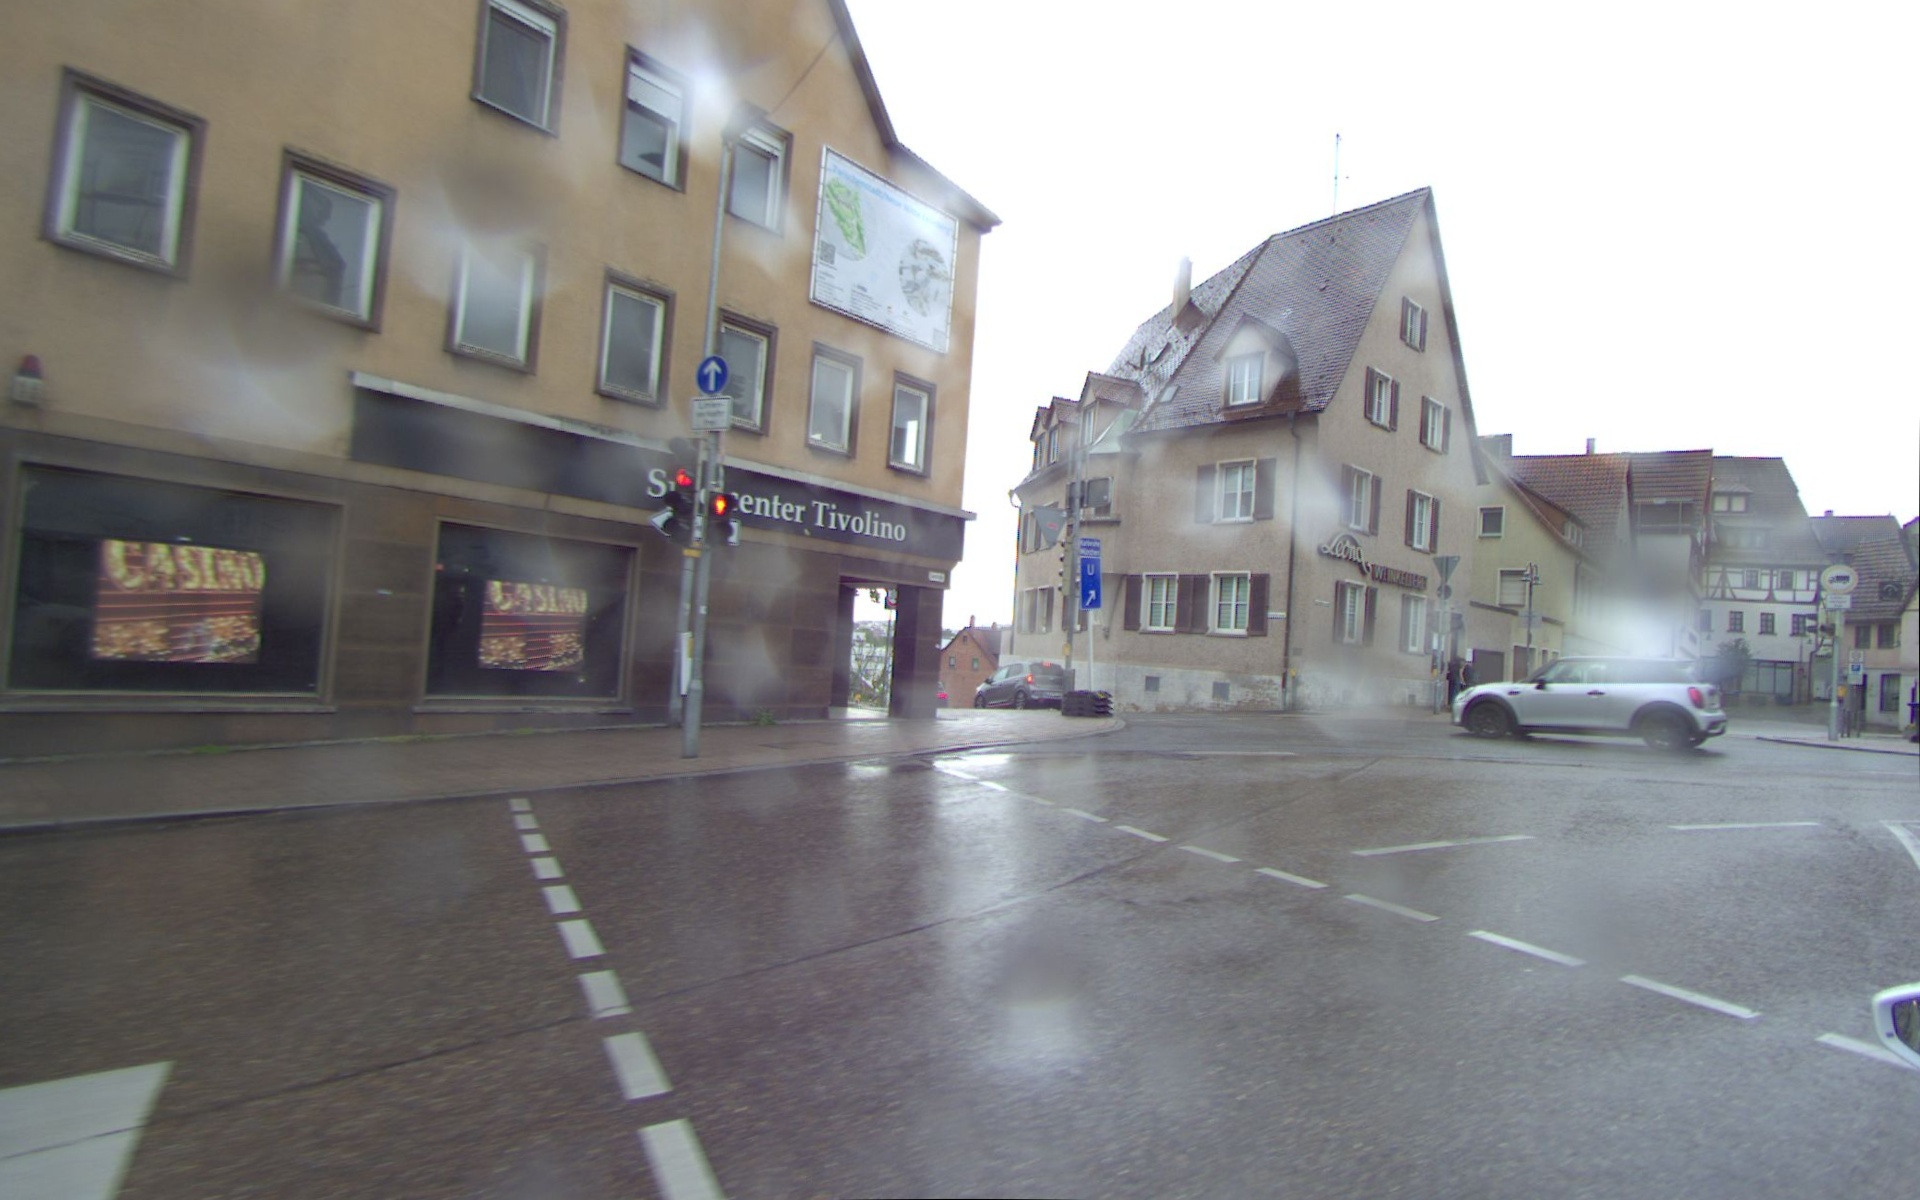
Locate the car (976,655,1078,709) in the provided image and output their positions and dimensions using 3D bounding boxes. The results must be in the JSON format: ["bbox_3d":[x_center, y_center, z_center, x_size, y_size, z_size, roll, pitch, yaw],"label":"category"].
[{"bbox_3d":[1.924,2.462,29.788,1.516,1.496,3.369,2,-6,-27],"label":"car"}]

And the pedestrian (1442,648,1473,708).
[{"bbox_3d":[15.603,2.438,31.508,0.784,1.854,0.713,-3,-4,28],"label":"pedestrian"}]

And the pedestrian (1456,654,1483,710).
[{"bbox_3d":[16.531,2.658,32.565,0.533,1.751,0.550,6,-3,-37],"label":"pedestrian"}]

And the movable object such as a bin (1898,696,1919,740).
[{"bbox_3d":[21.568,2.643,22.321,0.774,0.938,0.725,4,-4,-9],"label":"movable object such as a bin"}]

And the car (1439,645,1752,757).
[{"bbox_3d":[10.240,1.533,16.375,1.986,1.450,3.949,2,-2,-43],"label":"car"}]

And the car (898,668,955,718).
[{"bbox_3d":[-1.407,3.650,40.029,1.796,1.609,4.743,2,-1,-7],"label":"car"}]
